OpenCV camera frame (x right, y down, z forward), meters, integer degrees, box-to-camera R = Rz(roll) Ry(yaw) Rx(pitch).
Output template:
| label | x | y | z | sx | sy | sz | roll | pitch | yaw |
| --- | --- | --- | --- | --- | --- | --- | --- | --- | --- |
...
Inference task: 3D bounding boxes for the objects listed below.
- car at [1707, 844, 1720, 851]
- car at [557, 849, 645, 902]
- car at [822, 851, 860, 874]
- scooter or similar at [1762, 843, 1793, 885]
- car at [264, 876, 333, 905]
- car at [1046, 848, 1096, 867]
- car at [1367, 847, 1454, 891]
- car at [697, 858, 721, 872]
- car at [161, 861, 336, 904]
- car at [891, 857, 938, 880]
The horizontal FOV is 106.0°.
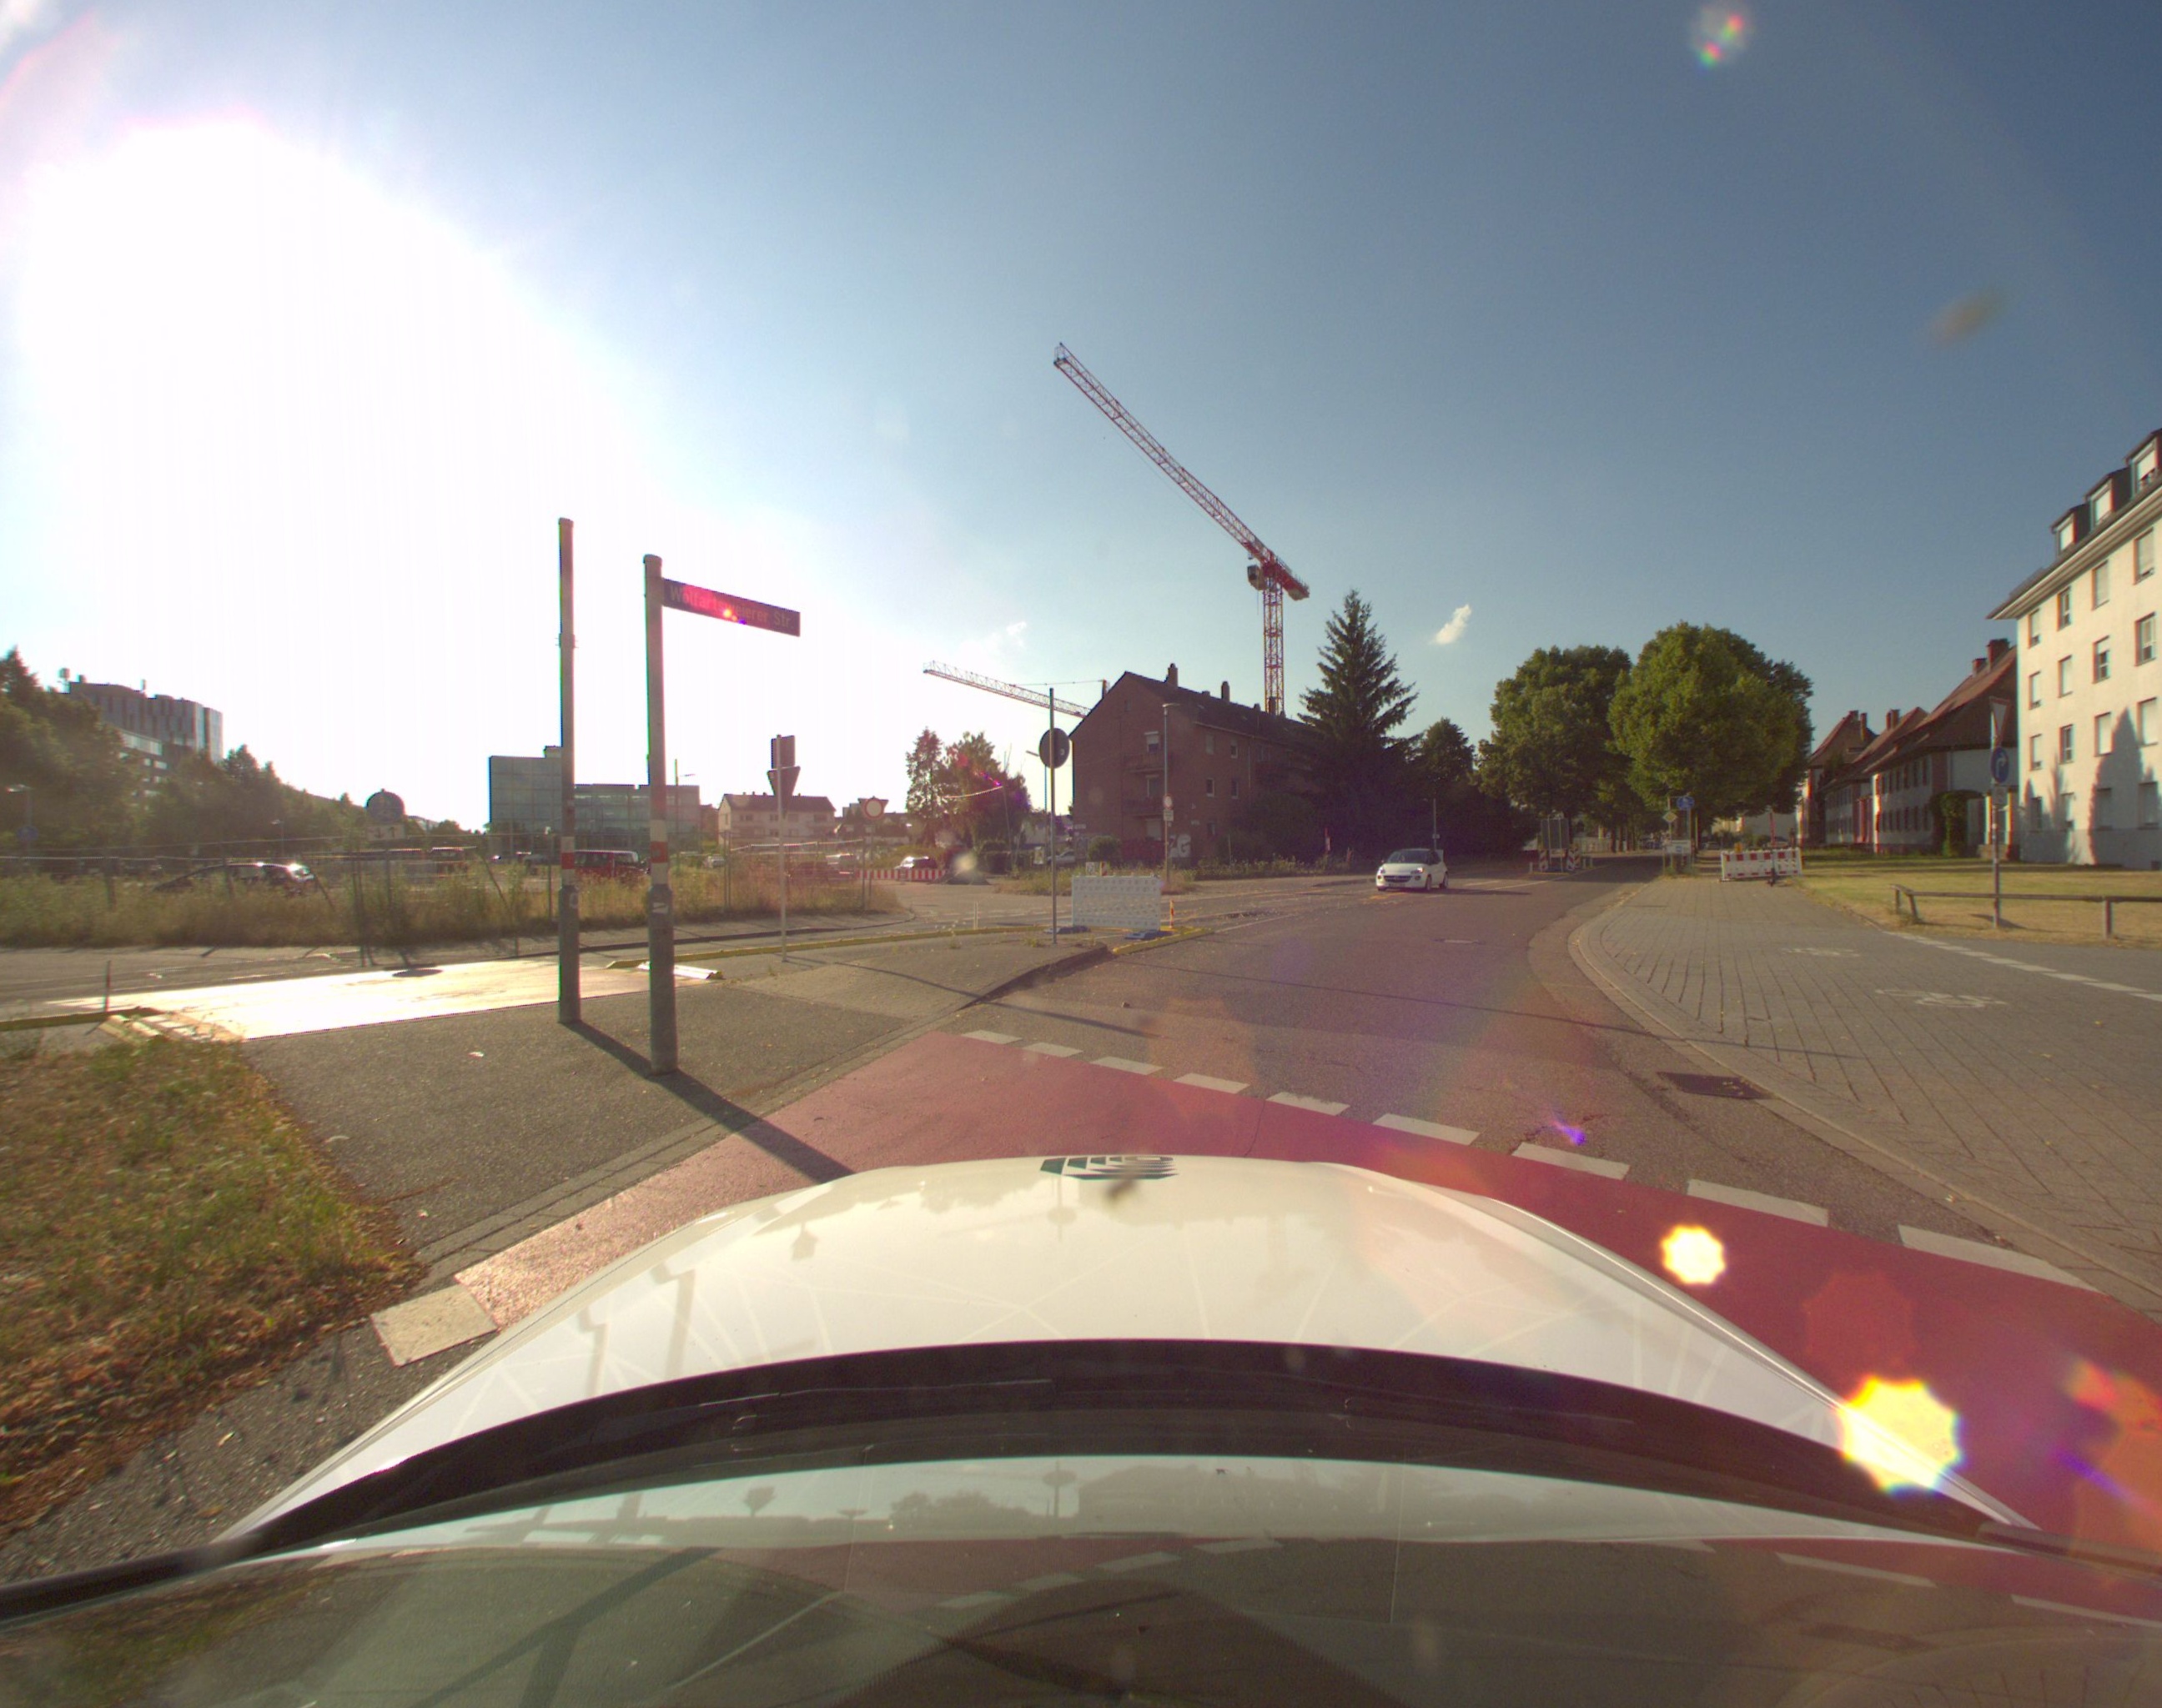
| label | x | y | z | sx | sy | sz | roll | pitch | yaw |
| --- | --- | --- | --- | --- | --- | --- | --- | --- | --- |
| car | 140.821 | -1.415 | 181.405 | 1.697 | 1.486 | 4.025 | -2 | -1 | 31 |
| car | -19.938 | 0.819 | 34.068 | 1.999 | 2.013 | 5.281 | -1 | 0 | -18 |
| car | -20.988 | 0.718 | 71.077 | 1.877 | 1.947 | 3.955 | -1 | 0 | -37 |
| scooter or similar | 22.645 | 0.317 | 26.494 | 0.553 | 1.292 | 1.472 | -8 | -4 | 38 |
| car | -37.210 | 1.709 | 38.830 | 1.335 | 1.166 | 3.900 | 0 | 0 | -28 |
| car | -0.835 | 0.275 | 69.572 | 3.967 | 1.530 | 2.003 | -1 | 0 | 6 |
| car | 11.498 | 0.470 | 28.328 | 1.742 | 1.421 | 3.647 | 1 | 1 | 40 |
| car | -50.972 | 1.525 | 111.551 | 2.162 | 1.838 | 4.315 | 0 | 0 | -35 |
| car | -29.972 | 0.984 | 29.532 | 4.267 | 1.363 | 1.976 | -1 | 0 | -41 |
| car | -11.862 | 0.996 | 57.848 | 2.007 | 1.552 | 3.959 | -1 | 0 | -33 |
